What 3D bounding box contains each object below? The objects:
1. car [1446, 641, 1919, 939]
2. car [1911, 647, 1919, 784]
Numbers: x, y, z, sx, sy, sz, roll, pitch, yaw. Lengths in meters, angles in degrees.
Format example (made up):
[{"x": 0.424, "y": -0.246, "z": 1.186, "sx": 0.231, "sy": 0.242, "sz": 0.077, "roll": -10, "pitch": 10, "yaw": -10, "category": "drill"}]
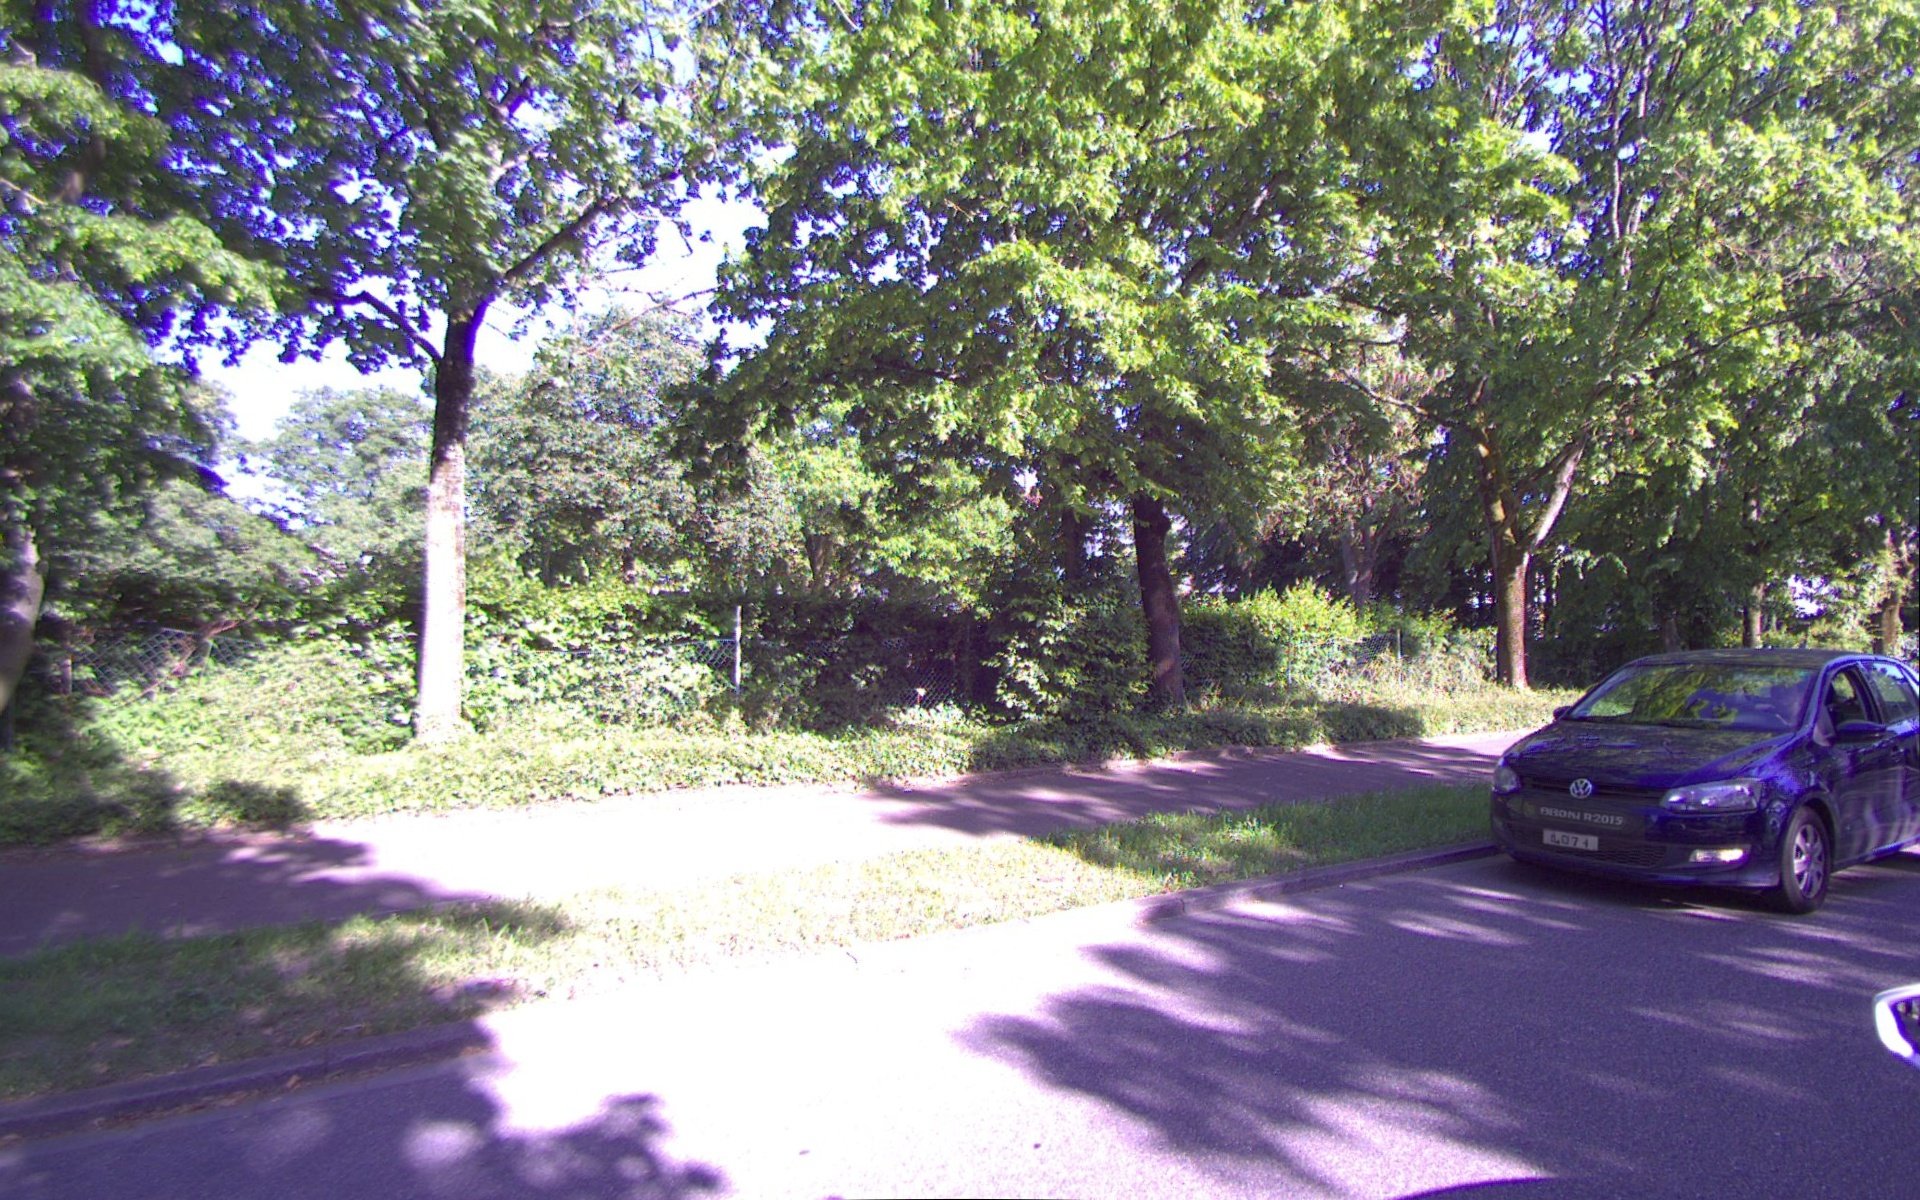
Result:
[{"x": 5.038, "y": 1.012, "z": 6.623, "sx": 3.610, "sy": 1.445, "sz": 1.593, "roll": 1, "pitch": -3, "yaw": -31, "category": "car"}, {"x": 12.576, "y": 1.244, "z": 11.185, "sx": 4.192, "sy": 1.473, "sz": 1.748, "roll": 1, "pitch": -3, "yaw": -30, "category": "car"}]
